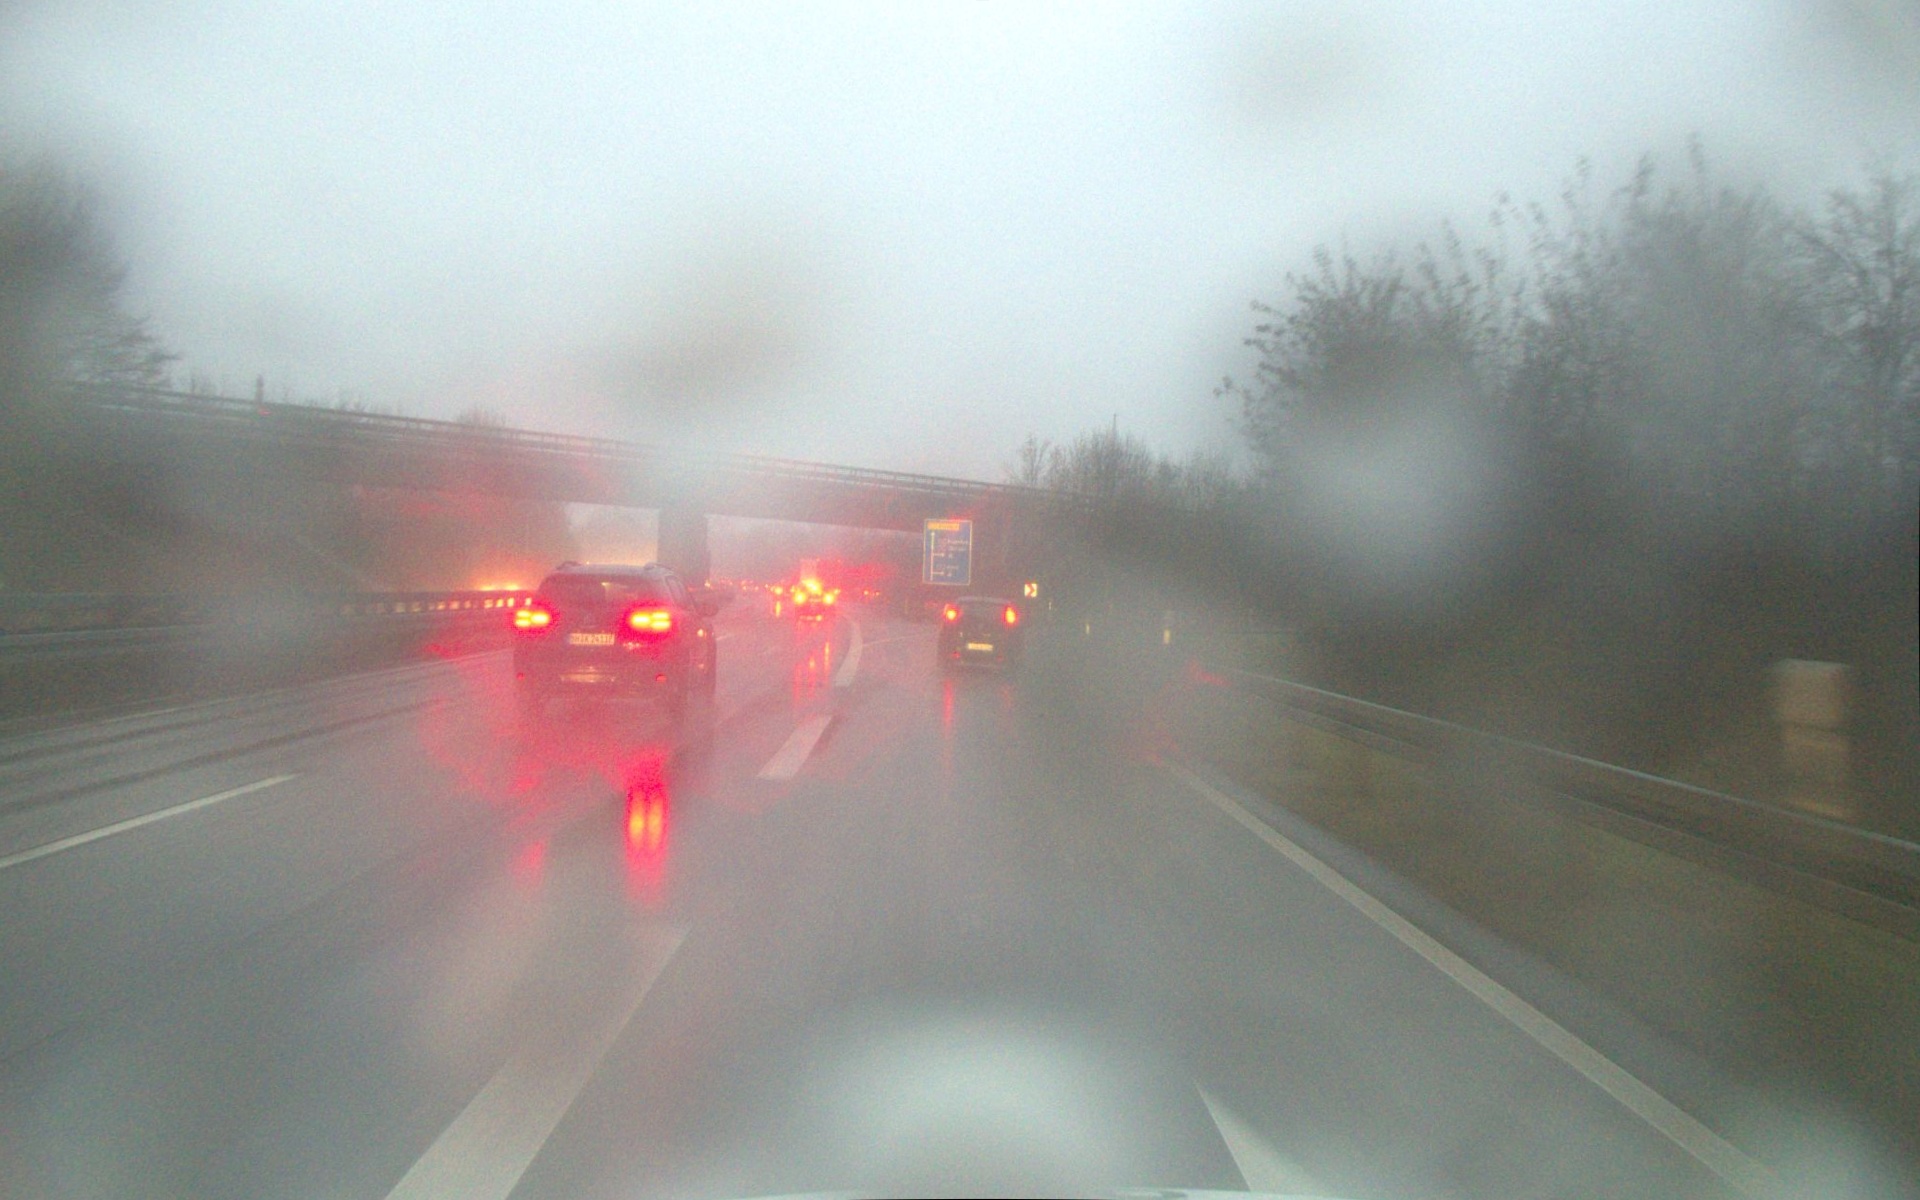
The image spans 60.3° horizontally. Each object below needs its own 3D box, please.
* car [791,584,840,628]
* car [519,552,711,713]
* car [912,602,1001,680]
[{"bbox_3d":[-6.260,0.243,71.864,1.840,1.645,3.874,2,2,-2],"label":"car"},{"bbox_3d":[-3.950,0.322,19.517,1.956,1.694,3.993,0,1,-8],"label":"car"},{"bbox_3d":[-0.019,0.796,33.851,1.696,1.454,3.766,0,1,2],"label":"car"}]
